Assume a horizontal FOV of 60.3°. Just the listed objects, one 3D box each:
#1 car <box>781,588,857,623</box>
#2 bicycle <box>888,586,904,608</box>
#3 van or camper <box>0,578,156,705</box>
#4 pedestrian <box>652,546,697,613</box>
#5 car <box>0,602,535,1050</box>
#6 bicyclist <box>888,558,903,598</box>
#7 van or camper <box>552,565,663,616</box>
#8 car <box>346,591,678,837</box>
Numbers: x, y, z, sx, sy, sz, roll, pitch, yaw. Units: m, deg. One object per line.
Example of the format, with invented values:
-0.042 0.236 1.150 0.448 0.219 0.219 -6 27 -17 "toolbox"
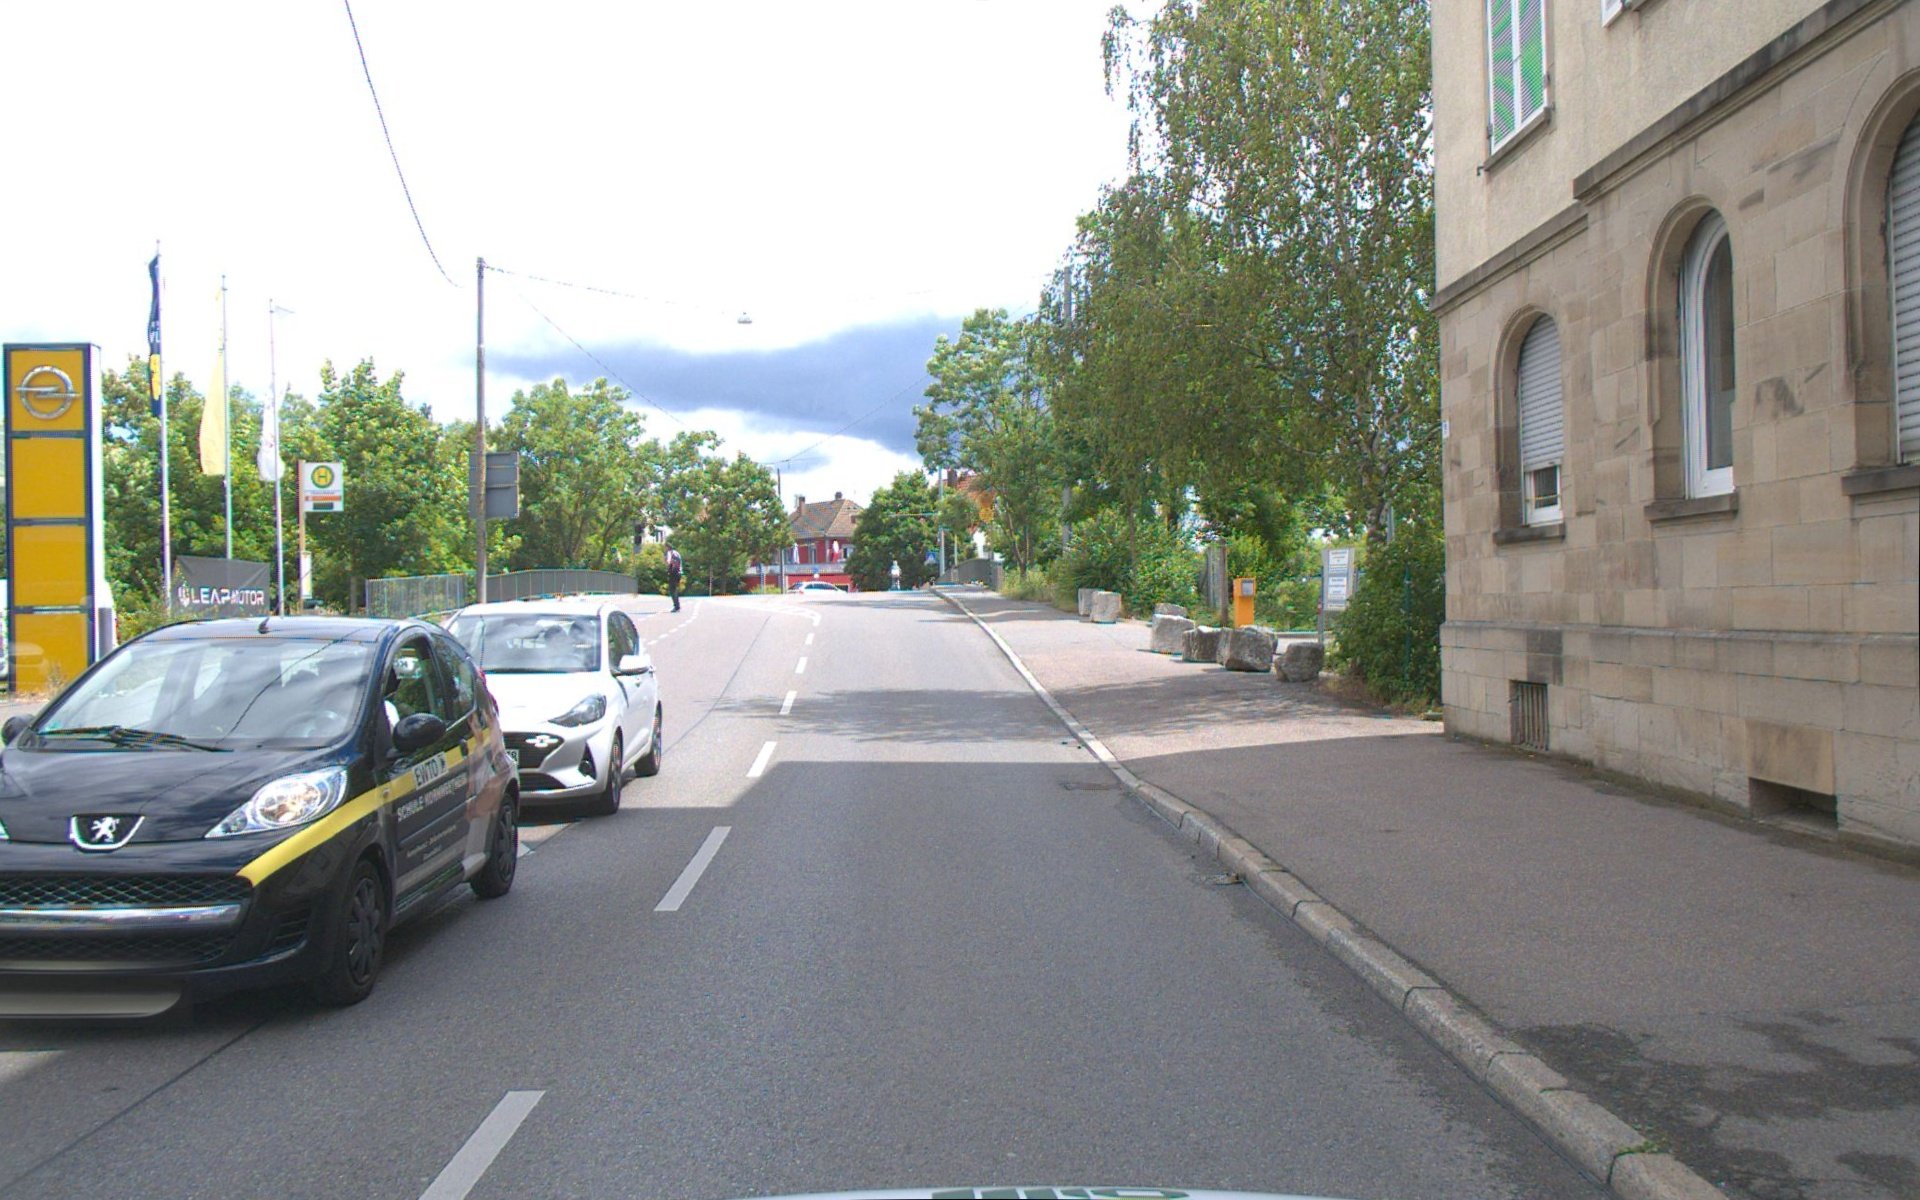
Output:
-8.451 0.345 99.605 1.964 1.863 4.407 1 -2 41 "car"
-3.142 -0.153 81.329 0.673 0.894 2.101 0 -4 2 "bicycle"
-15.891 0.648 26.785 1.946 1.997 4.950 0 1 29 "van or camper"
-8.118 -0.588 47.056 1.011 1.869 1.000 0 1 5 "pedestrian"
-3.066 0.794 7.265 1.685 1.510 3.320 1 -1 -3 "car"
-3.150 -1.078 81.298 0.670 1.858 1.080 0 -4 1 "bicyclist"
-20.069 -0.531 94.385 5.790 2.612 2.192 -2 -3 -2 "van or camper"
-3.297 0.792 12.935 1.685 1.609 3.997 1 -1 -3 "car"
